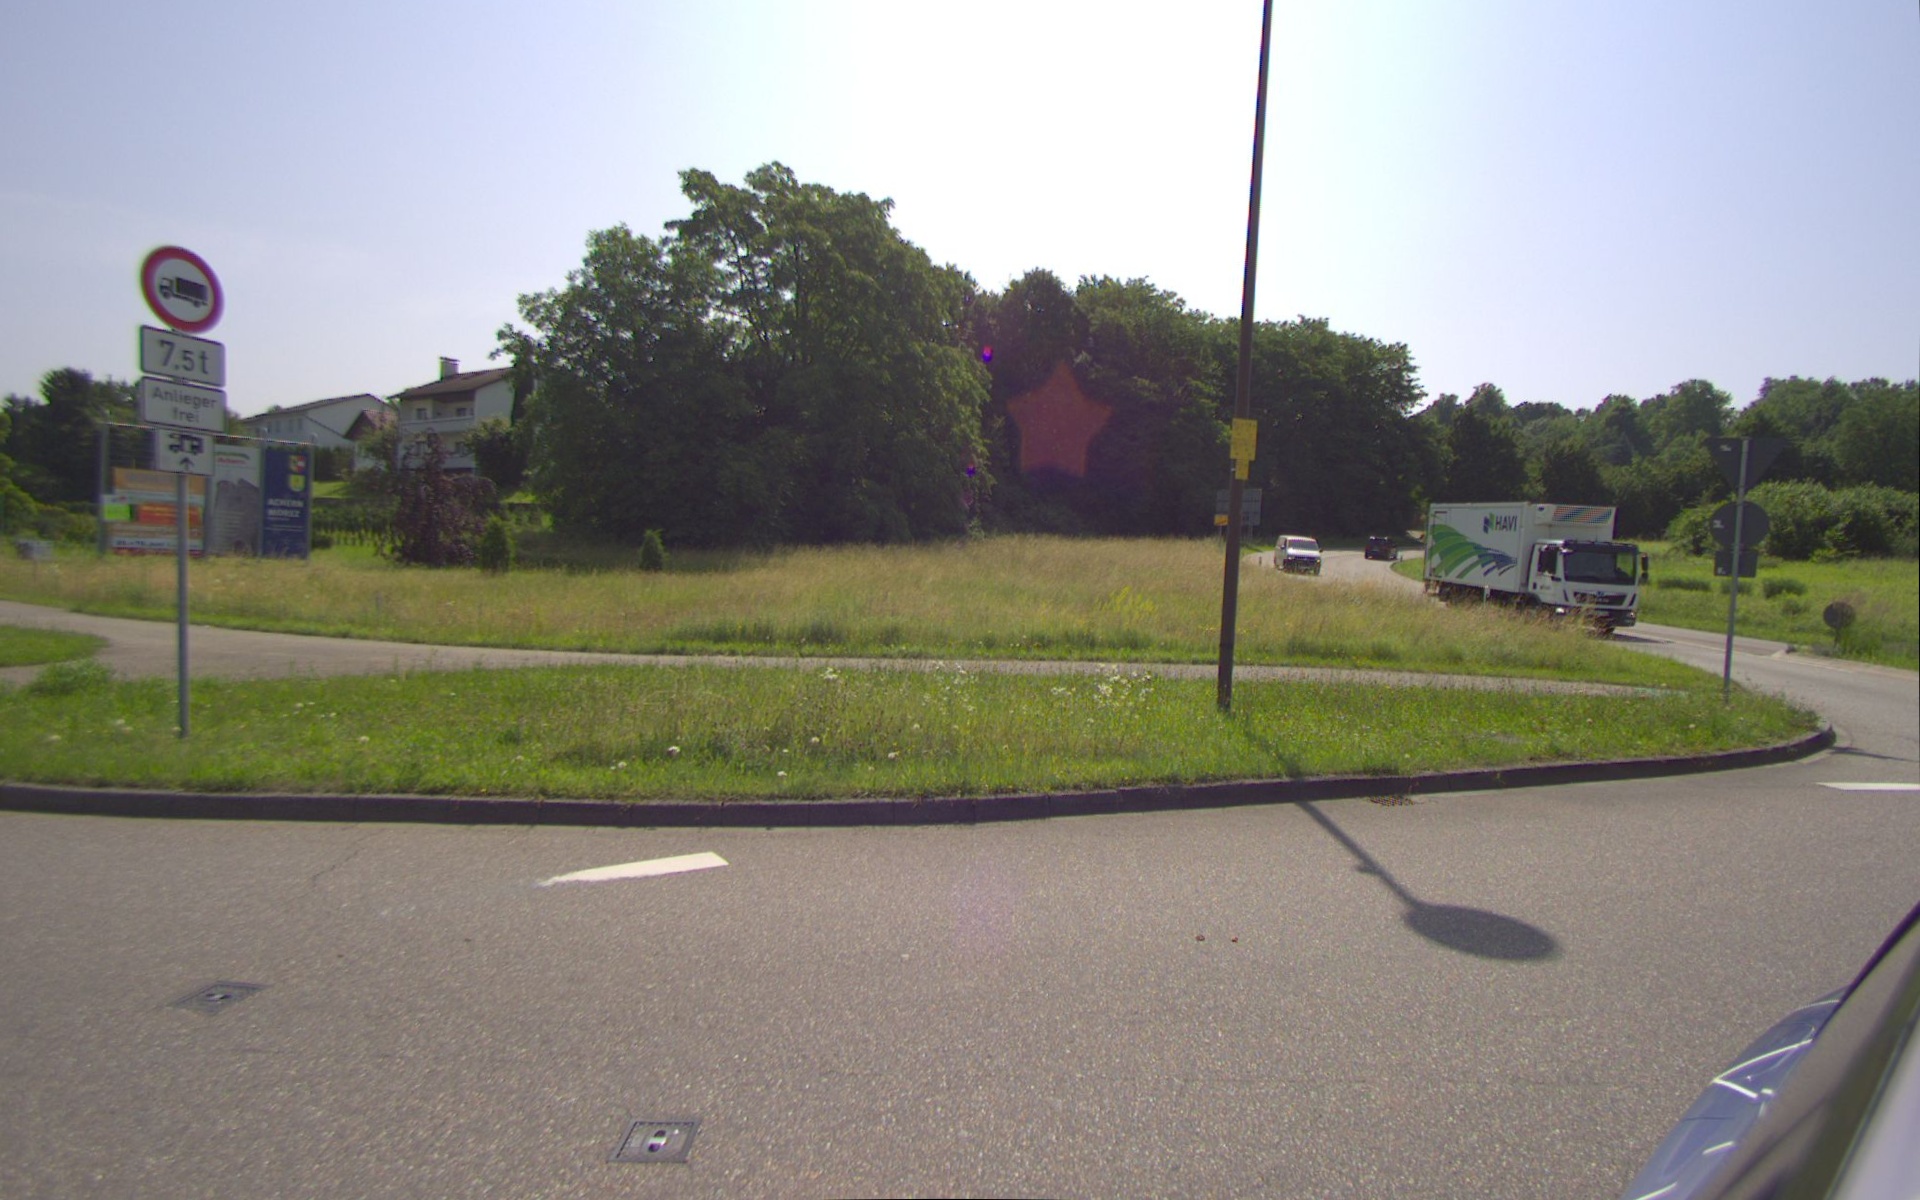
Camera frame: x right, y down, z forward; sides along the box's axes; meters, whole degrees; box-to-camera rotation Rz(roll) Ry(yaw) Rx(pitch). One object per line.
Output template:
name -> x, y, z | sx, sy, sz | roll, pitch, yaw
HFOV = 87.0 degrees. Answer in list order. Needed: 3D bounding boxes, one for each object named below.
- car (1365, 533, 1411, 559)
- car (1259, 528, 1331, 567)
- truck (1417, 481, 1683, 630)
car -> 31.887, -4.002, 75.385 | 1.906, 1.614, 4.309 | 6, 4, 40
car -> 18.505, -2.937, 56.227 | 1.961, 2.037, 5.608 | 1, 4, -2
truck -> 17.511, -1.444, 31.070 | 2.846, 3.874, 9.027 | 1, 3, 1
